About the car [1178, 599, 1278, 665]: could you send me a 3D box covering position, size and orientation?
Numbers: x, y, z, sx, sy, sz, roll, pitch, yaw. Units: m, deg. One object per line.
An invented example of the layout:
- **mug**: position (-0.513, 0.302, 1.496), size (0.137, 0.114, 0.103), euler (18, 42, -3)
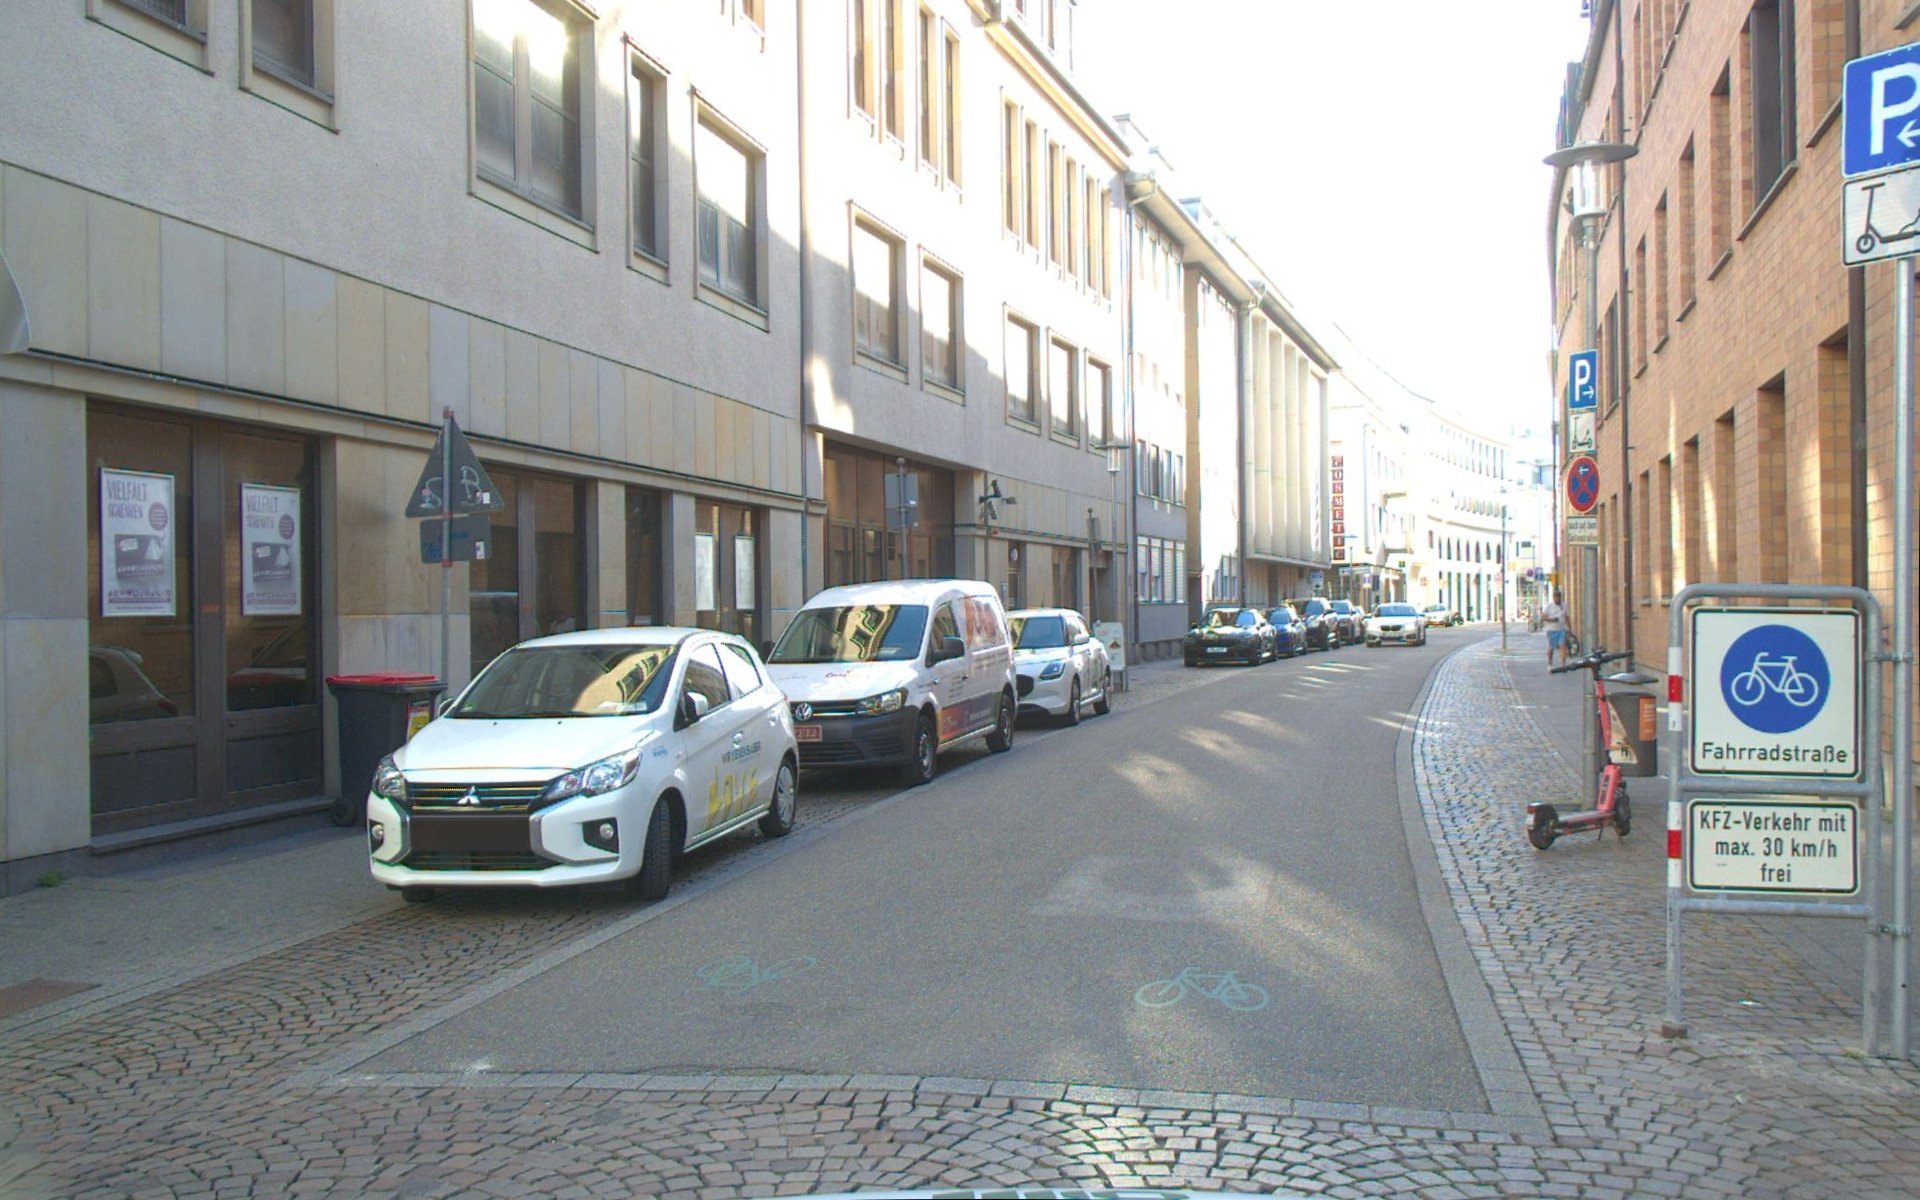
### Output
- **car**: position (6.895, 0.776, 42.163), size (1.850, 1.557, 4.731), euler (-1, 0, 17)

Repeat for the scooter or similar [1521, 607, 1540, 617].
- **scooter or similar**: position (50.466, 1.058, 146.289), size (2.206, 0.944, 0.519), euler (0, 0, -40)

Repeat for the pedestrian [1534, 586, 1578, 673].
- **pedestrian**: position (12.351, 0.609, 34.292), size (0.744, 1.746, 0.822), euler (-3, -1, 17)

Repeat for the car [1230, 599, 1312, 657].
- **car**: position (9.097, 0.780, 48.197), size (1.850, 1.557, 4.342), euler (-1, 0, 17)

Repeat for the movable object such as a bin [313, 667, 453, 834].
- **movable object such as a bin**: position (-4.130, 1.060, 11.861), size (0.721, 1.120, 0.591), euler (1, -1, 12)

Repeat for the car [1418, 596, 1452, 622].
- **car**: position (29.803, 0.548, 103.714), size (1.701, 1.634, 3.533), euler (0, 0, 21)

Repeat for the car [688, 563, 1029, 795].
- **car**: position (-0.783, 0.668, 16.191), size (1.859, 1.890, 4.737), euler (-3, 0, 15)

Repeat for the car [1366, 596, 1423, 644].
- **car**: position (14.753, 0.654, 55.999), size (1.678, 1.544, 4.162), euler (-1, 0, 17)

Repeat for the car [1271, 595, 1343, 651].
- **car**: position (11.344, 0.705, 53.826), size (1.850, 1.705, 4.556), euler (-1, 0, 17)

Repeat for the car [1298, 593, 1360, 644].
- **car**: position (13.431, 0.638, 60.045), size (1.850, 1.773, 4.393), euler (-1, 0, 17)

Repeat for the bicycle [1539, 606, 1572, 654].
- **bicycle**: position (15.087, 0.746, 41.915), size (0.538, 1.122, 1.984), euler (-4, -1, 15)

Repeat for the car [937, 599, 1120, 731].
- **car**: position (1.012, 0.818, 22.327), size (1.634, 1.548, 3.778), euler (-3, -1, 15)

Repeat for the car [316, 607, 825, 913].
- **car**: position (-2.200, 0.852, 10.461), size (1.700, 1.518, 3.803), euler (-3, 0, 10)

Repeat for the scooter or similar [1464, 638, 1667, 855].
- **scooter or similar**: position (3.873, 0.892, 10.548), size (1.403, 1.257, 0.532), euler (0, 1, -36)

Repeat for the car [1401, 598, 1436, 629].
- **car**: position (24.173, 0.682, 87.150), size (1.605, 1.544, 4.162), euler (-1, 0, 17)

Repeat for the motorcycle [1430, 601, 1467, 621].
- **motorcycle**: position (33.710, 0.751, 114.134), size (2.341, 1.340, 0.862), euler (-2, -1, 21)
